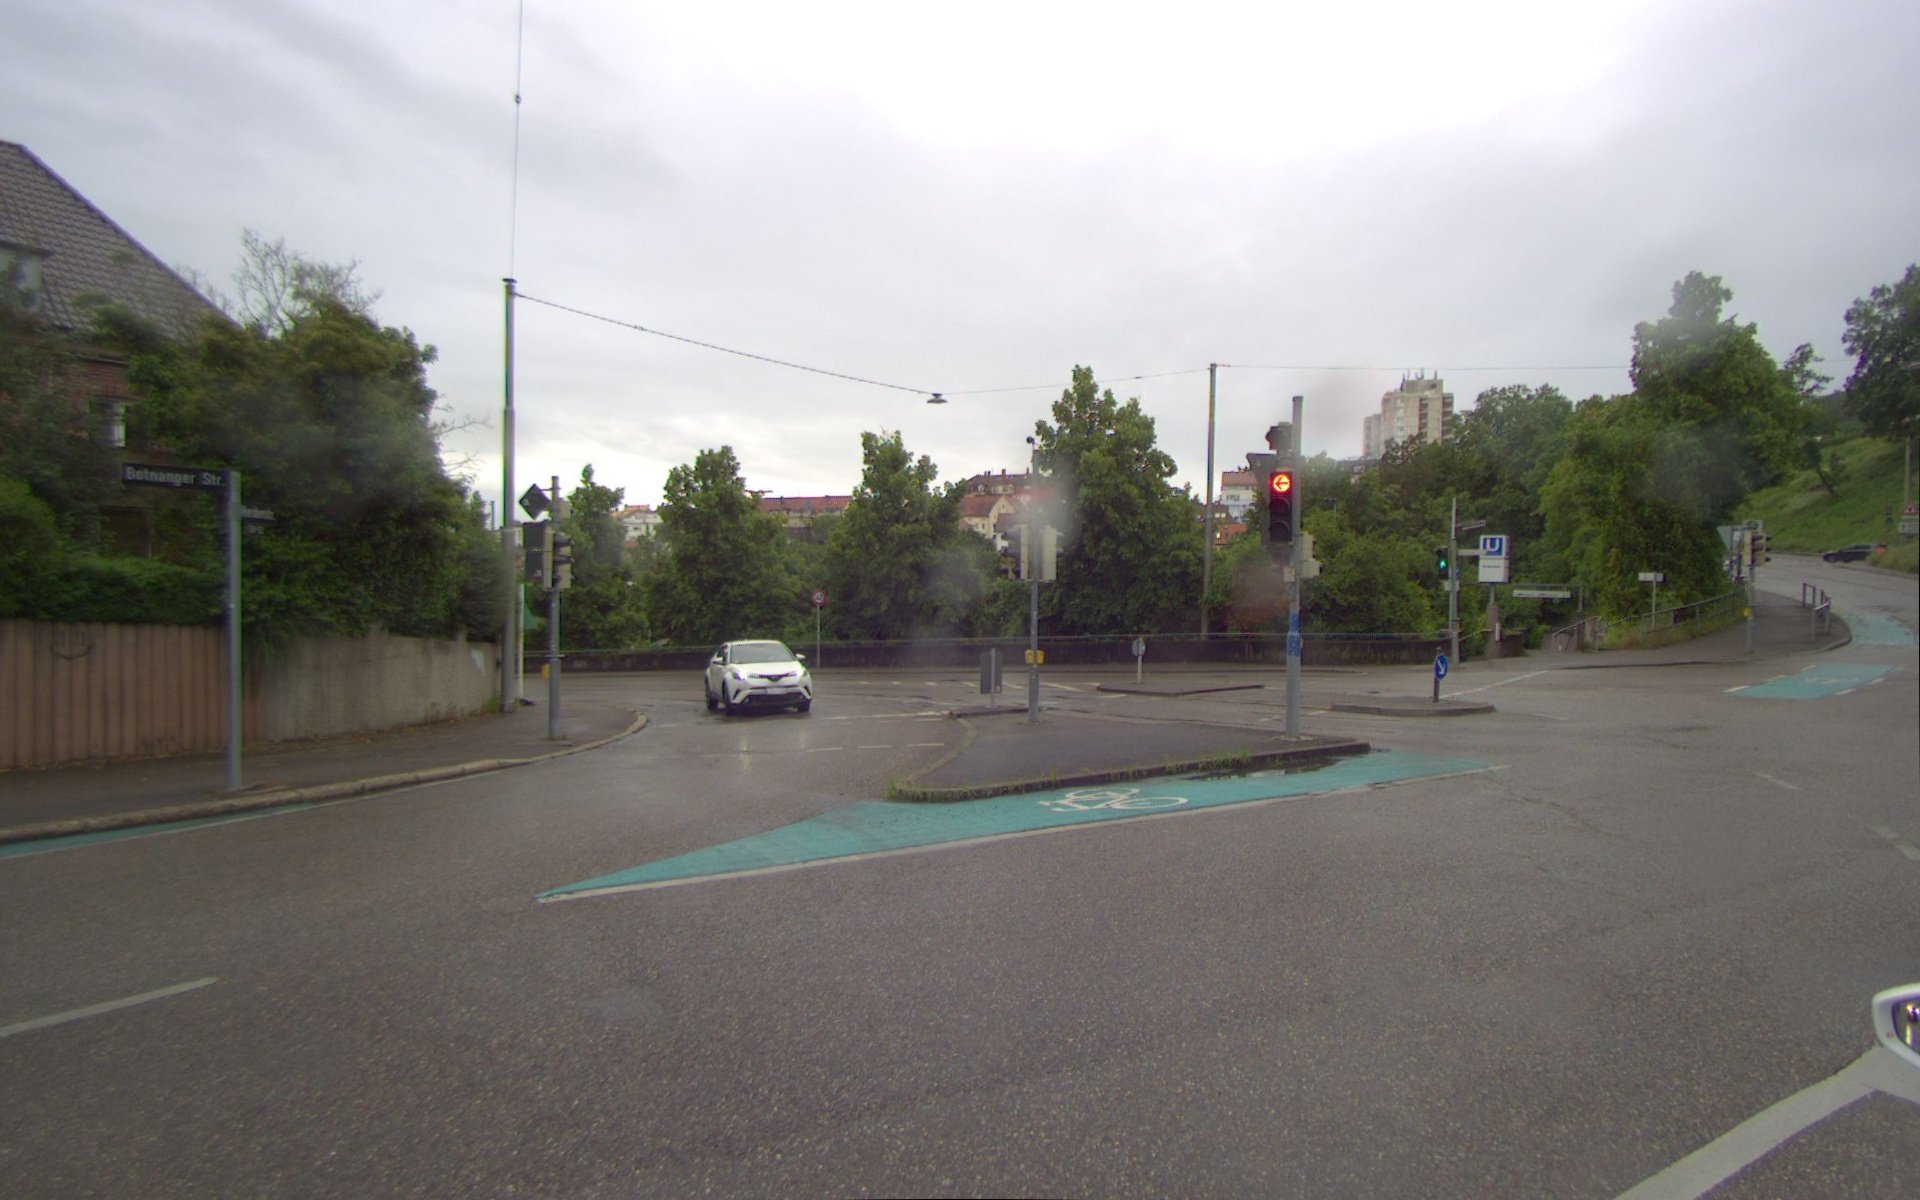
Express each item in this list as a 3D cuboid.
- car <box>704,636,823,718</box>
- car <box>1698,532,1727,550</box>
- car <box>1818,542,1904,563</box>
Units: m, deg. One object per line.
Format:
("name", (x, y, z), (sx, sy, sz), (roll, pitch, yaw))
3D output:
("car", (-4.357, 1.632, 21.813), (1.810, 1.527, 3.866), (-2, -2, -22))
("car", (78.456, -6.151, 104.783), (1.890, 1.805, 3.991), (2, 2, 30))
("car", (66.557, -3.479, 74.301), (1.930, 1.532, 4.388), (-1, 2, -16))
